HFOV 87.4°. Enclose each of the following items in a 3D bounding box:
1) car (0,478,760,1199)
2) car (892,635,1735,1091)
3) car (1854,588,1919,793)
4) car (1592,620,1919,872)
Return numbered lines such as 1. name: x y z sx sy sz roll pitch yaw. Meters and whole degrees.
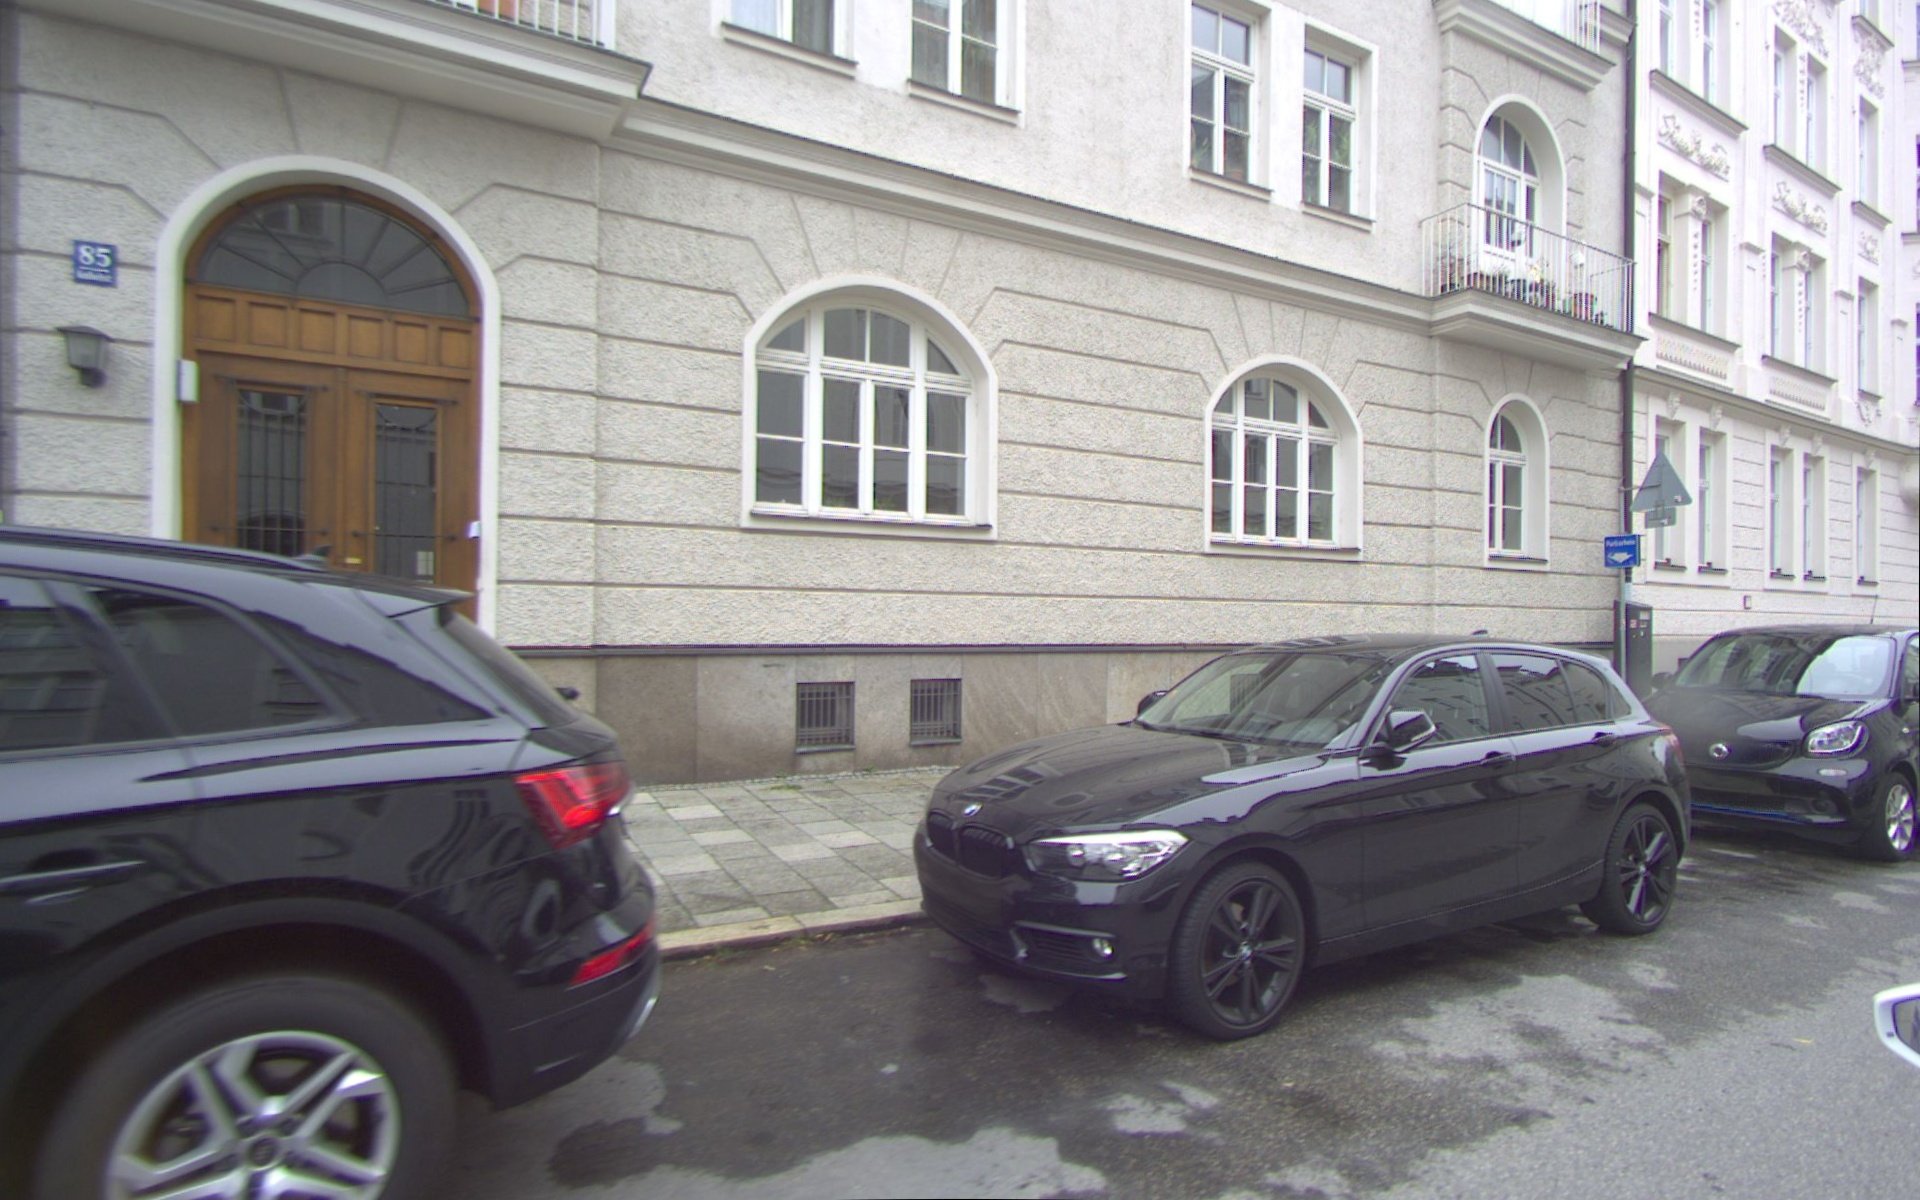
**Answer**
1. car: -2.842 0.598 2.210 4.380 1.621 1.868 0 -1 -29
2. car: 1.836 0.897 4.916 4.042 1.425 1.647 1 -2 -29
3. car: 11.226 0.842 10.297 4.711 1.919 1.826 0 -3 -33
4. car: 6.625 0.936 7.753 3.493 1.533 1.607 1 -2 -32
